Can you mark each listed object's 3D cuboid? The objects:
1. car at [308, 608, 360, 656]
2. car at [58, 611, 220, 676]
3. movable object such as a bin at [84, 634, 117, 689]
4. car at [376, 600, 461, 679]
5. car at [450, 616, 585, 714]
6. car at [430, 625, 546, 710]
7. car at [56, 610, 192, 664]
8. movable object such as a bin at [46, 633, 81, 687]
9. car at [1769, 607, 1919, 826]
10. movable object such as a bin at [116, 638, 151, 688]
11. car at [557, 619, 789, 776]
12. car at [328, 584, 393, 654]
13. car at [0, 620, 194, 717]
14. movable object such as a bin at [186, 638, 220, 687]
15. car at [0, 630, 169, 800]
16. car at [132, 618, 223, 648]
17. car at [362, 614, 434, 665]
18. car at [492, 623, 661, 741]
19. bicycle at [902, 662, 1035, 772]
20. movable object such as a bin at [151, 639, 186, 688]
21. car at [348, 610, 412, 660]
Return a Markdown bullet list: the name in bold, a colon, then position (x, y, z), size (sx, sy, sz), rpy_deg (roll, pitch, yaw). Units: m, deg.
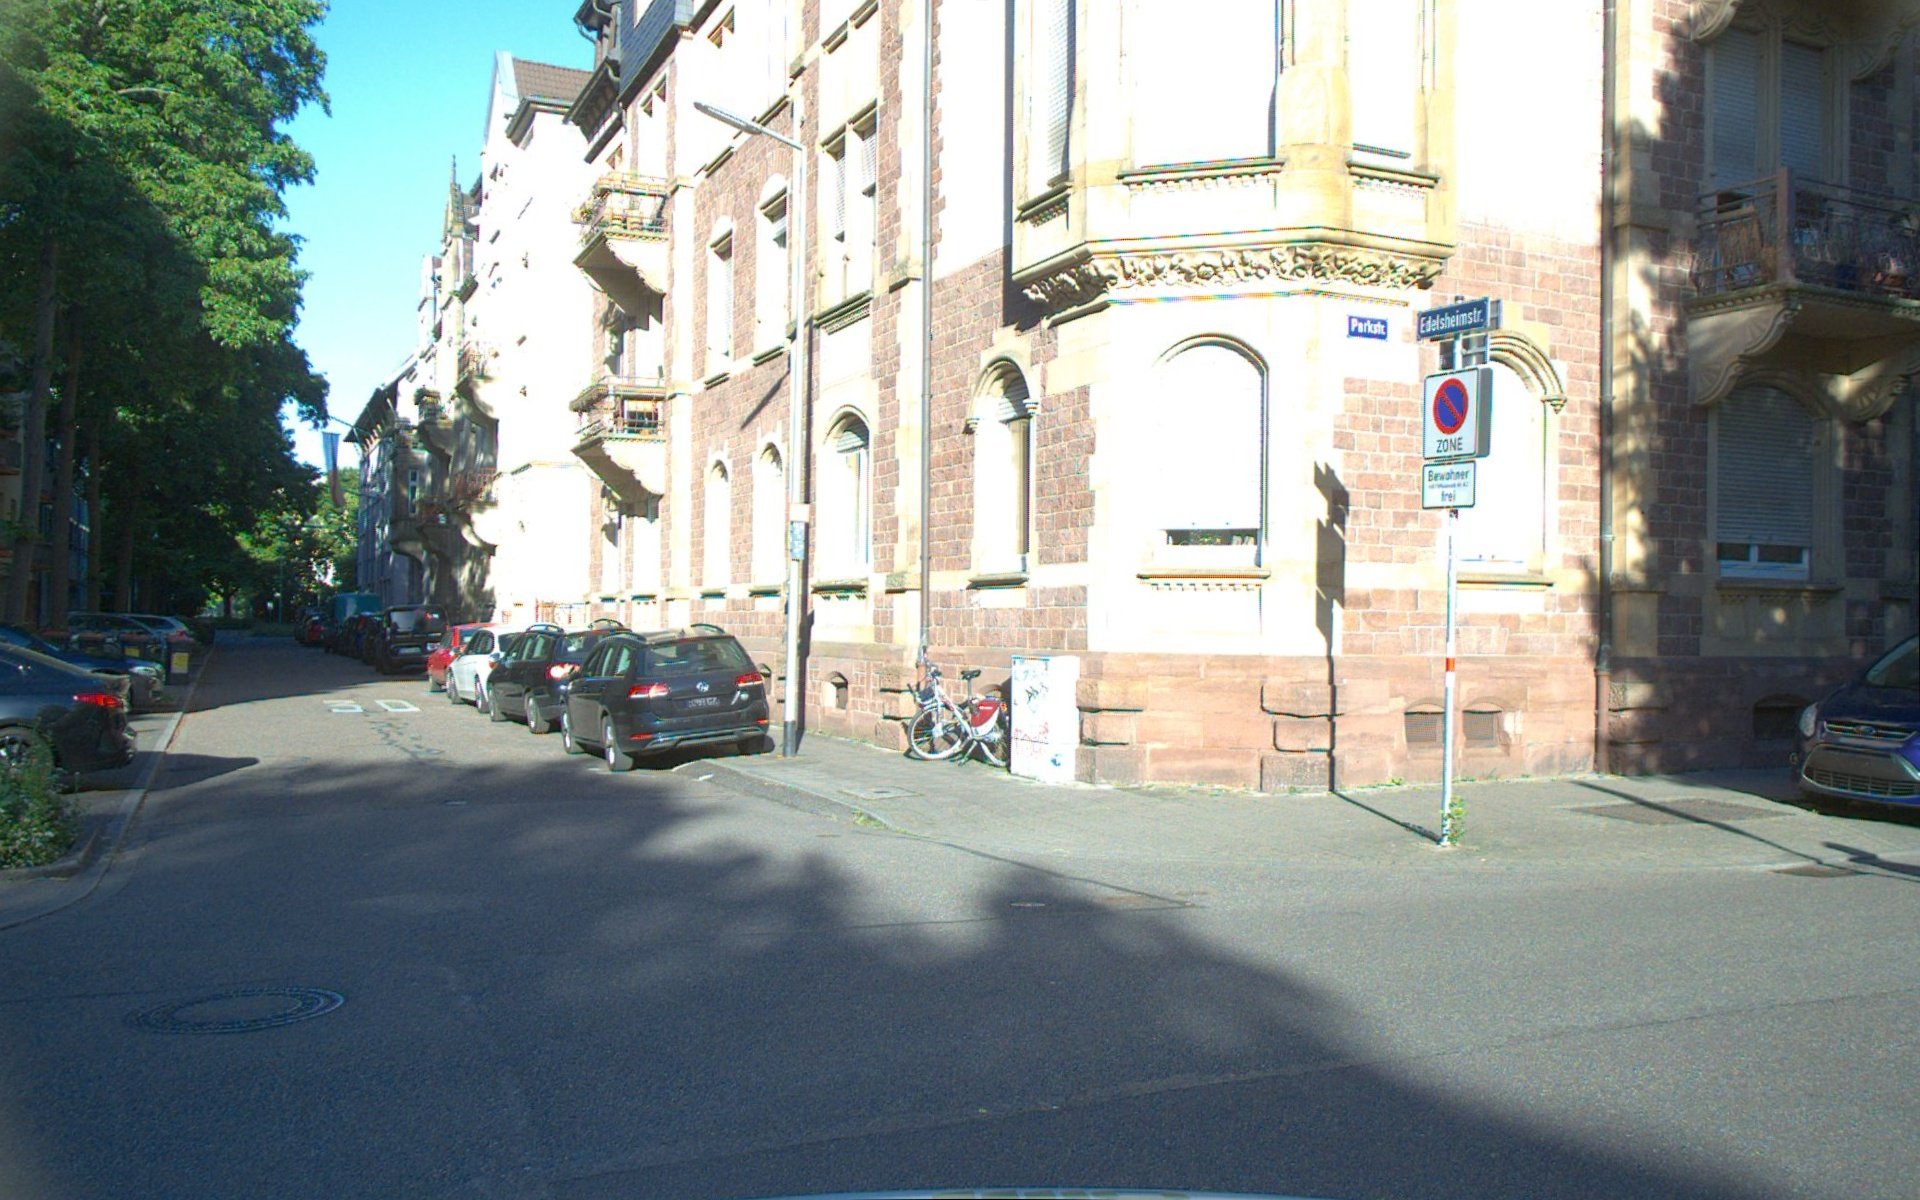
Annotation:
- **car**: position (-31.748, 1.615, 83.835), size (2.137, 2.276, 4.754), rpy_deg (2, -2, -24)
- **car**: position (-21.767, 1.158, 43.919), size (3.758, 1.603, 1.694), rpy_deg (2, -2, -28)
- **movable object such as a bin**: position (-18.885, 1.352, 36.338), size (0.592, 1.173, 0.482), rpy_deg (2, -2, -30)
- **car**: position (-14.863, 1.073, 45.284), size (1.779, 2.039, 3.970), rpy_deg (2, -2, -24)
- **car**: position (-7.974, 1.129, 29.587), size (1.715, 1.609, 3.970), rpy_deg (2, -2, -24)
- **car**: position (-9.686, 1.333, 33.752), size (1.715, 1.609, 3.970), rpy_deg (2, -2, -24)
- **car**: position (-26.544, 1.198, 52.626), size (3.755, 1.603, 1.695), rpy_deg (2, -2, -27)
- **movable object such as a bin**: position (-19.492, 1.296, 35.949), size (0.627, 1.146, 0.482), rpy_deg (2, -2, -30)
- **car**: position (9.016, 0.971, 14.090), size (4.197, 1.650, 1.719), rpy_deg (2, 0, -29)
- **movable object such as a bin**: position (-18.294, 1.394, 36.617), size (0.622, 1.071, 0.562), rpy_deg (2, -2, -30)
- **car**: position (-3.428, 1.054, 19.163), size (1.715, 1.609, 3.970), rpy_deg (2, -2, -24)
- **car**: position (-24.816, 0.787, 68.387), size (2.137, 2.738, 4.754), rpy_deg (2, -2, -24)
- **car**: position (-14.702, 1.064, 26.016), size (4.775, 1.460, 1.696), rpy_deg (2, -2, -26)
- **movable object such as a bin**: position (-17.083, 1.410, 37.314), size (0.622, 1.071, 0.562), rpy_deg (2, -2, -30)
- **car**: position (-9.493, 0.993, 14.932), size (4.191, 1.460, 1.983), rpy_deg (2, -2, -26)
- **car**: position (-36.306, 1.527, 76.753), size (3.755, 1.262, 1.695), rpy_deg (2, -2, -27)
- **car**: position (-17.938, 1.254, 52.720), size (1.779, 1.541, 3.970), rpy_deg (2, -2, -24)
- **car**: position (-5.816, 1.172, 24.749), size (1.715, 1.609, 3.970), rpy_deg (2, -2, -24)
- **bicycle**: position (0.068, 1.153, 16.612), size (0.510, 1.015, 1.556), rpy_deg (3, -2, -36)
- **movable object such as a bin**: position (-17.704, 1.415, 36.996), size (0.622, 1.071, 0.562), rpy_deg (2, -2, -30)
- **car**: position (-20.725, 1.243, 59.017), size (1.779, 1.709, 3.970), rpy_deg (2, -2, -24)
